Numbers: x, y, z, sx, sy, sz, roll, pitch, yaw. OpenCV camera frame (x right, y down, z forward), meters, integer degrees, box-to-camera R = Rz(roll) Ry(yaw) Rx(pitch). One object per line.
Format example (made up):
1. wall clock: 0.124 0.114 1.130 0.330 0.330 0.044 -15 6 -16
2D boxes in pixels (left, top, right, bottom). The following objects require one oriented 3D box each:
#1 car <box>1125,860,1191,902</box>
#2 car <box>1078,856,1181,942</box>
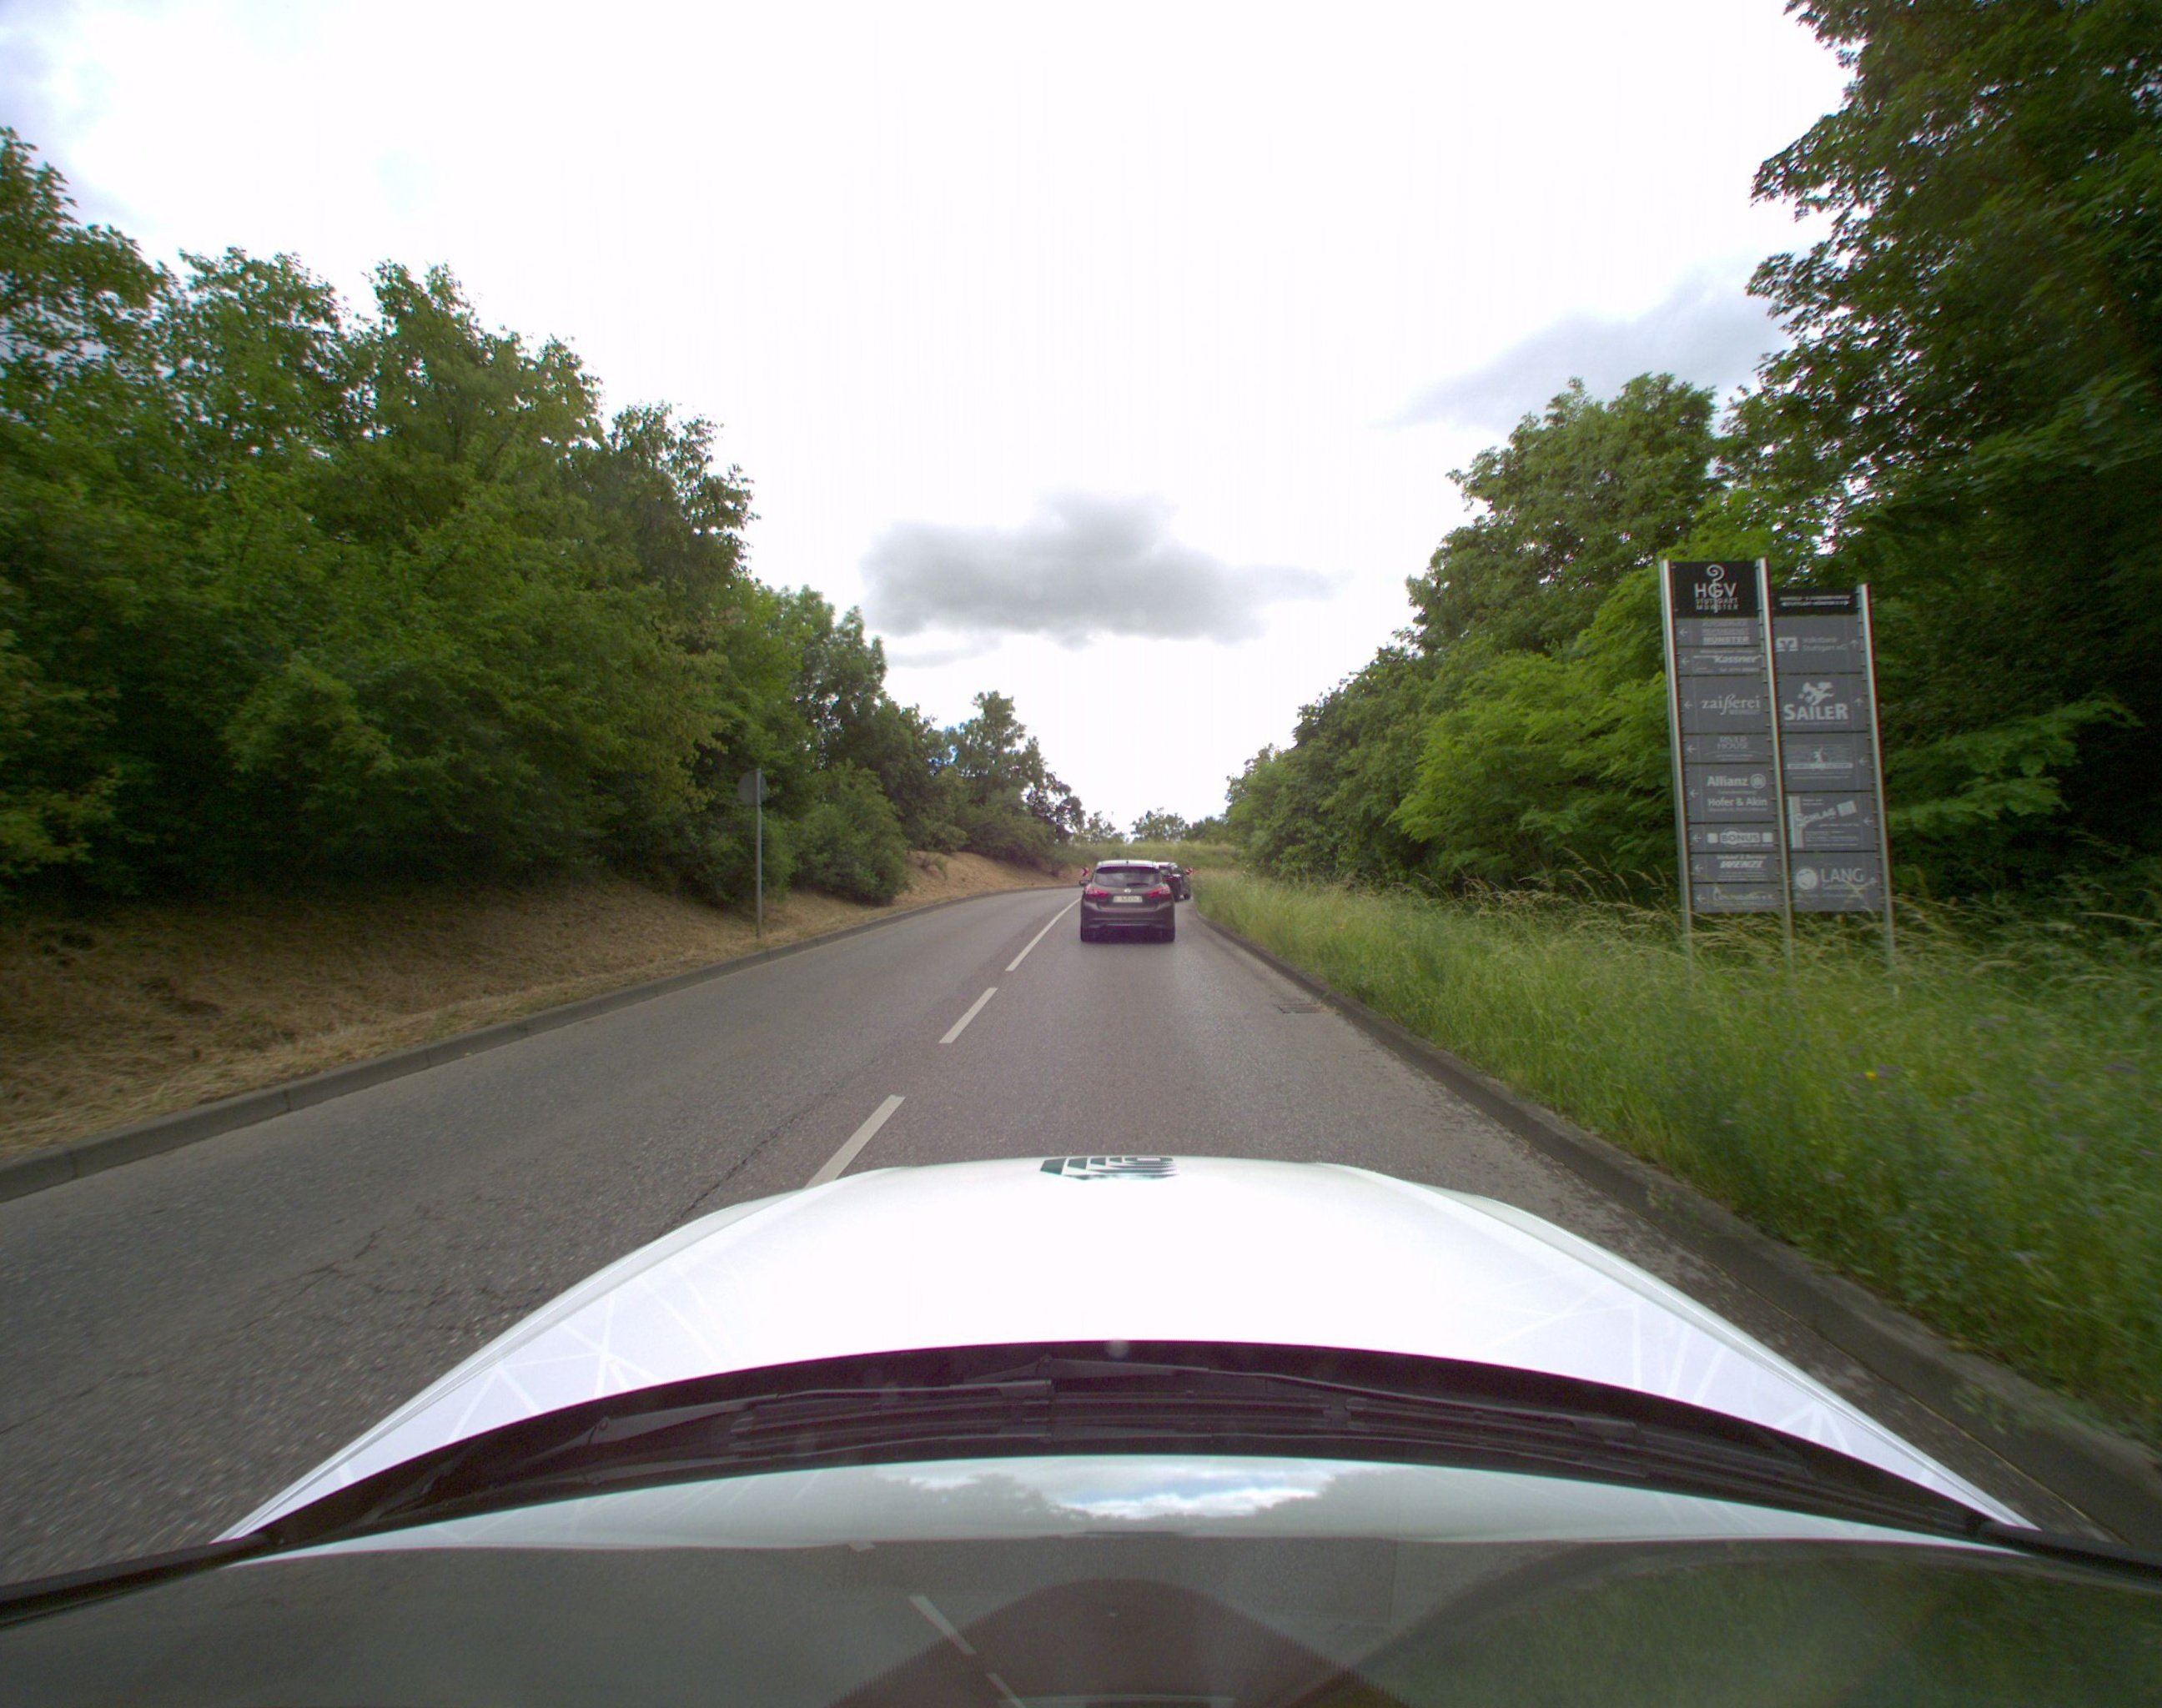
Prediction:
1. car: 3.043 0.995 31.531 1.886 1.466 4.016 0 0 15
2. car: 0.856 0.806 16.527 1.839 1.493 3.999 0 0 0
